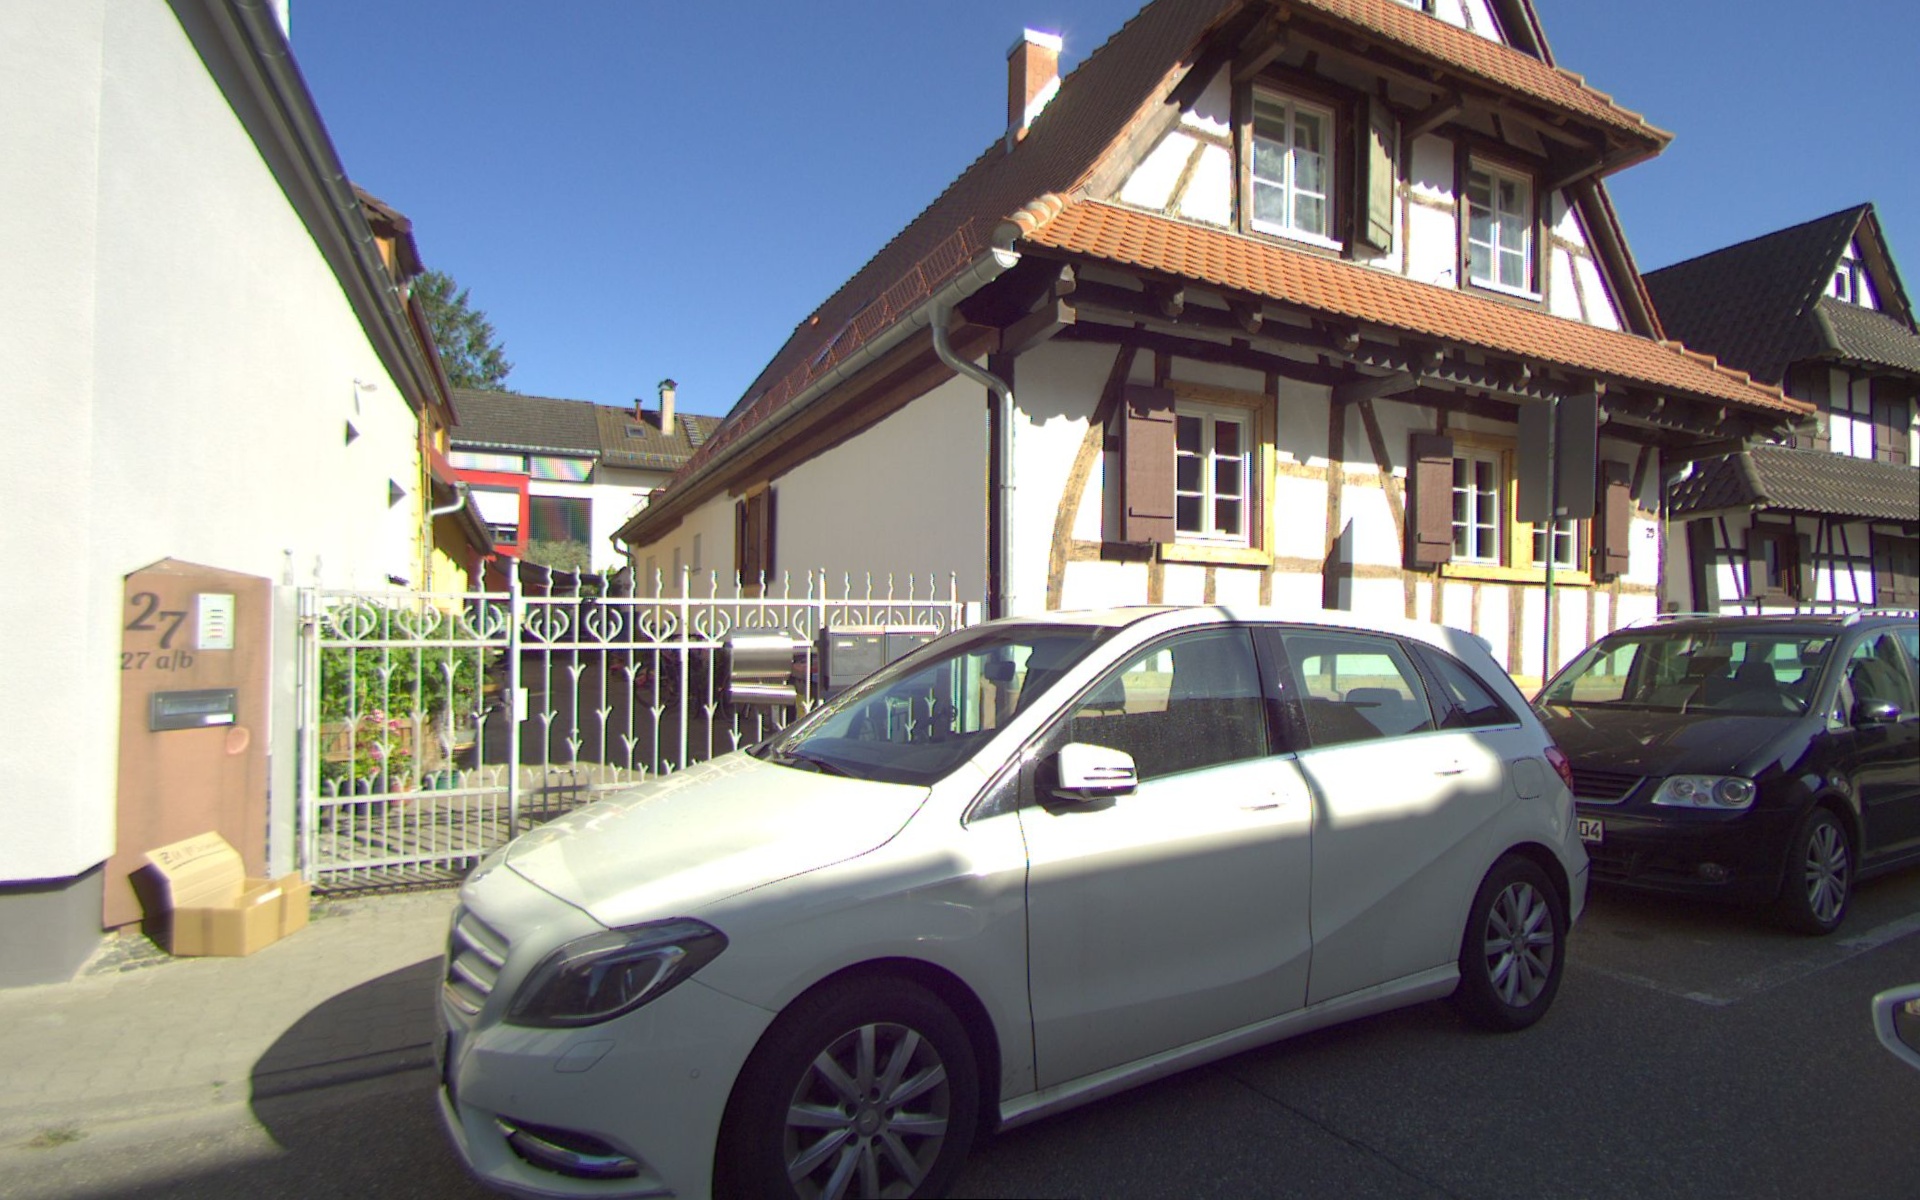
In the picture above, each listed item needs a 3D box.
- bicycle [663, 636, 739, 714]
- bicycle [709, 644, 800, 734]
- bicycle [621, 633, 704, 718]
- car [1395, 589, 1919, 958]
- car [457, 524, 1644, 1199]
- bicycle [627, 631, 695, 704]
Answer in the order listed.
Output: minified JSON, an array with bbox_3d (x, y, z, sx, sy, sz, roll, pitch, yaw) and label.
[{"bbox_3d":[-3.449,0.964,13.301,0.447,0.931,1.636,2,-1,-33],"label":"bicycle"},{"bbox_3d":[-2.435,1.011,11.787,0.447,0.931,1.636,2,-1,-33],"label":"bicycle"},{"bbox_3d":[-3.855,0.940,12.937,0.529,0.967,1.708,2,-1,-34],"label":"bicycle"},{"bbox_3d":[4.899,0.837,6.291,4.309,1.626,1.776,1,-2,-30],"label":"car"},{"bbox_3d":[0.477,0.726,3.747,4.118,1.587,1.808,2,-2,-29],"label":"car"},{"bbox_3d":[-4.246,0.933,14.195,0.447,0.931,1.636,2,-1,-33],"label":"bicycle"}]
